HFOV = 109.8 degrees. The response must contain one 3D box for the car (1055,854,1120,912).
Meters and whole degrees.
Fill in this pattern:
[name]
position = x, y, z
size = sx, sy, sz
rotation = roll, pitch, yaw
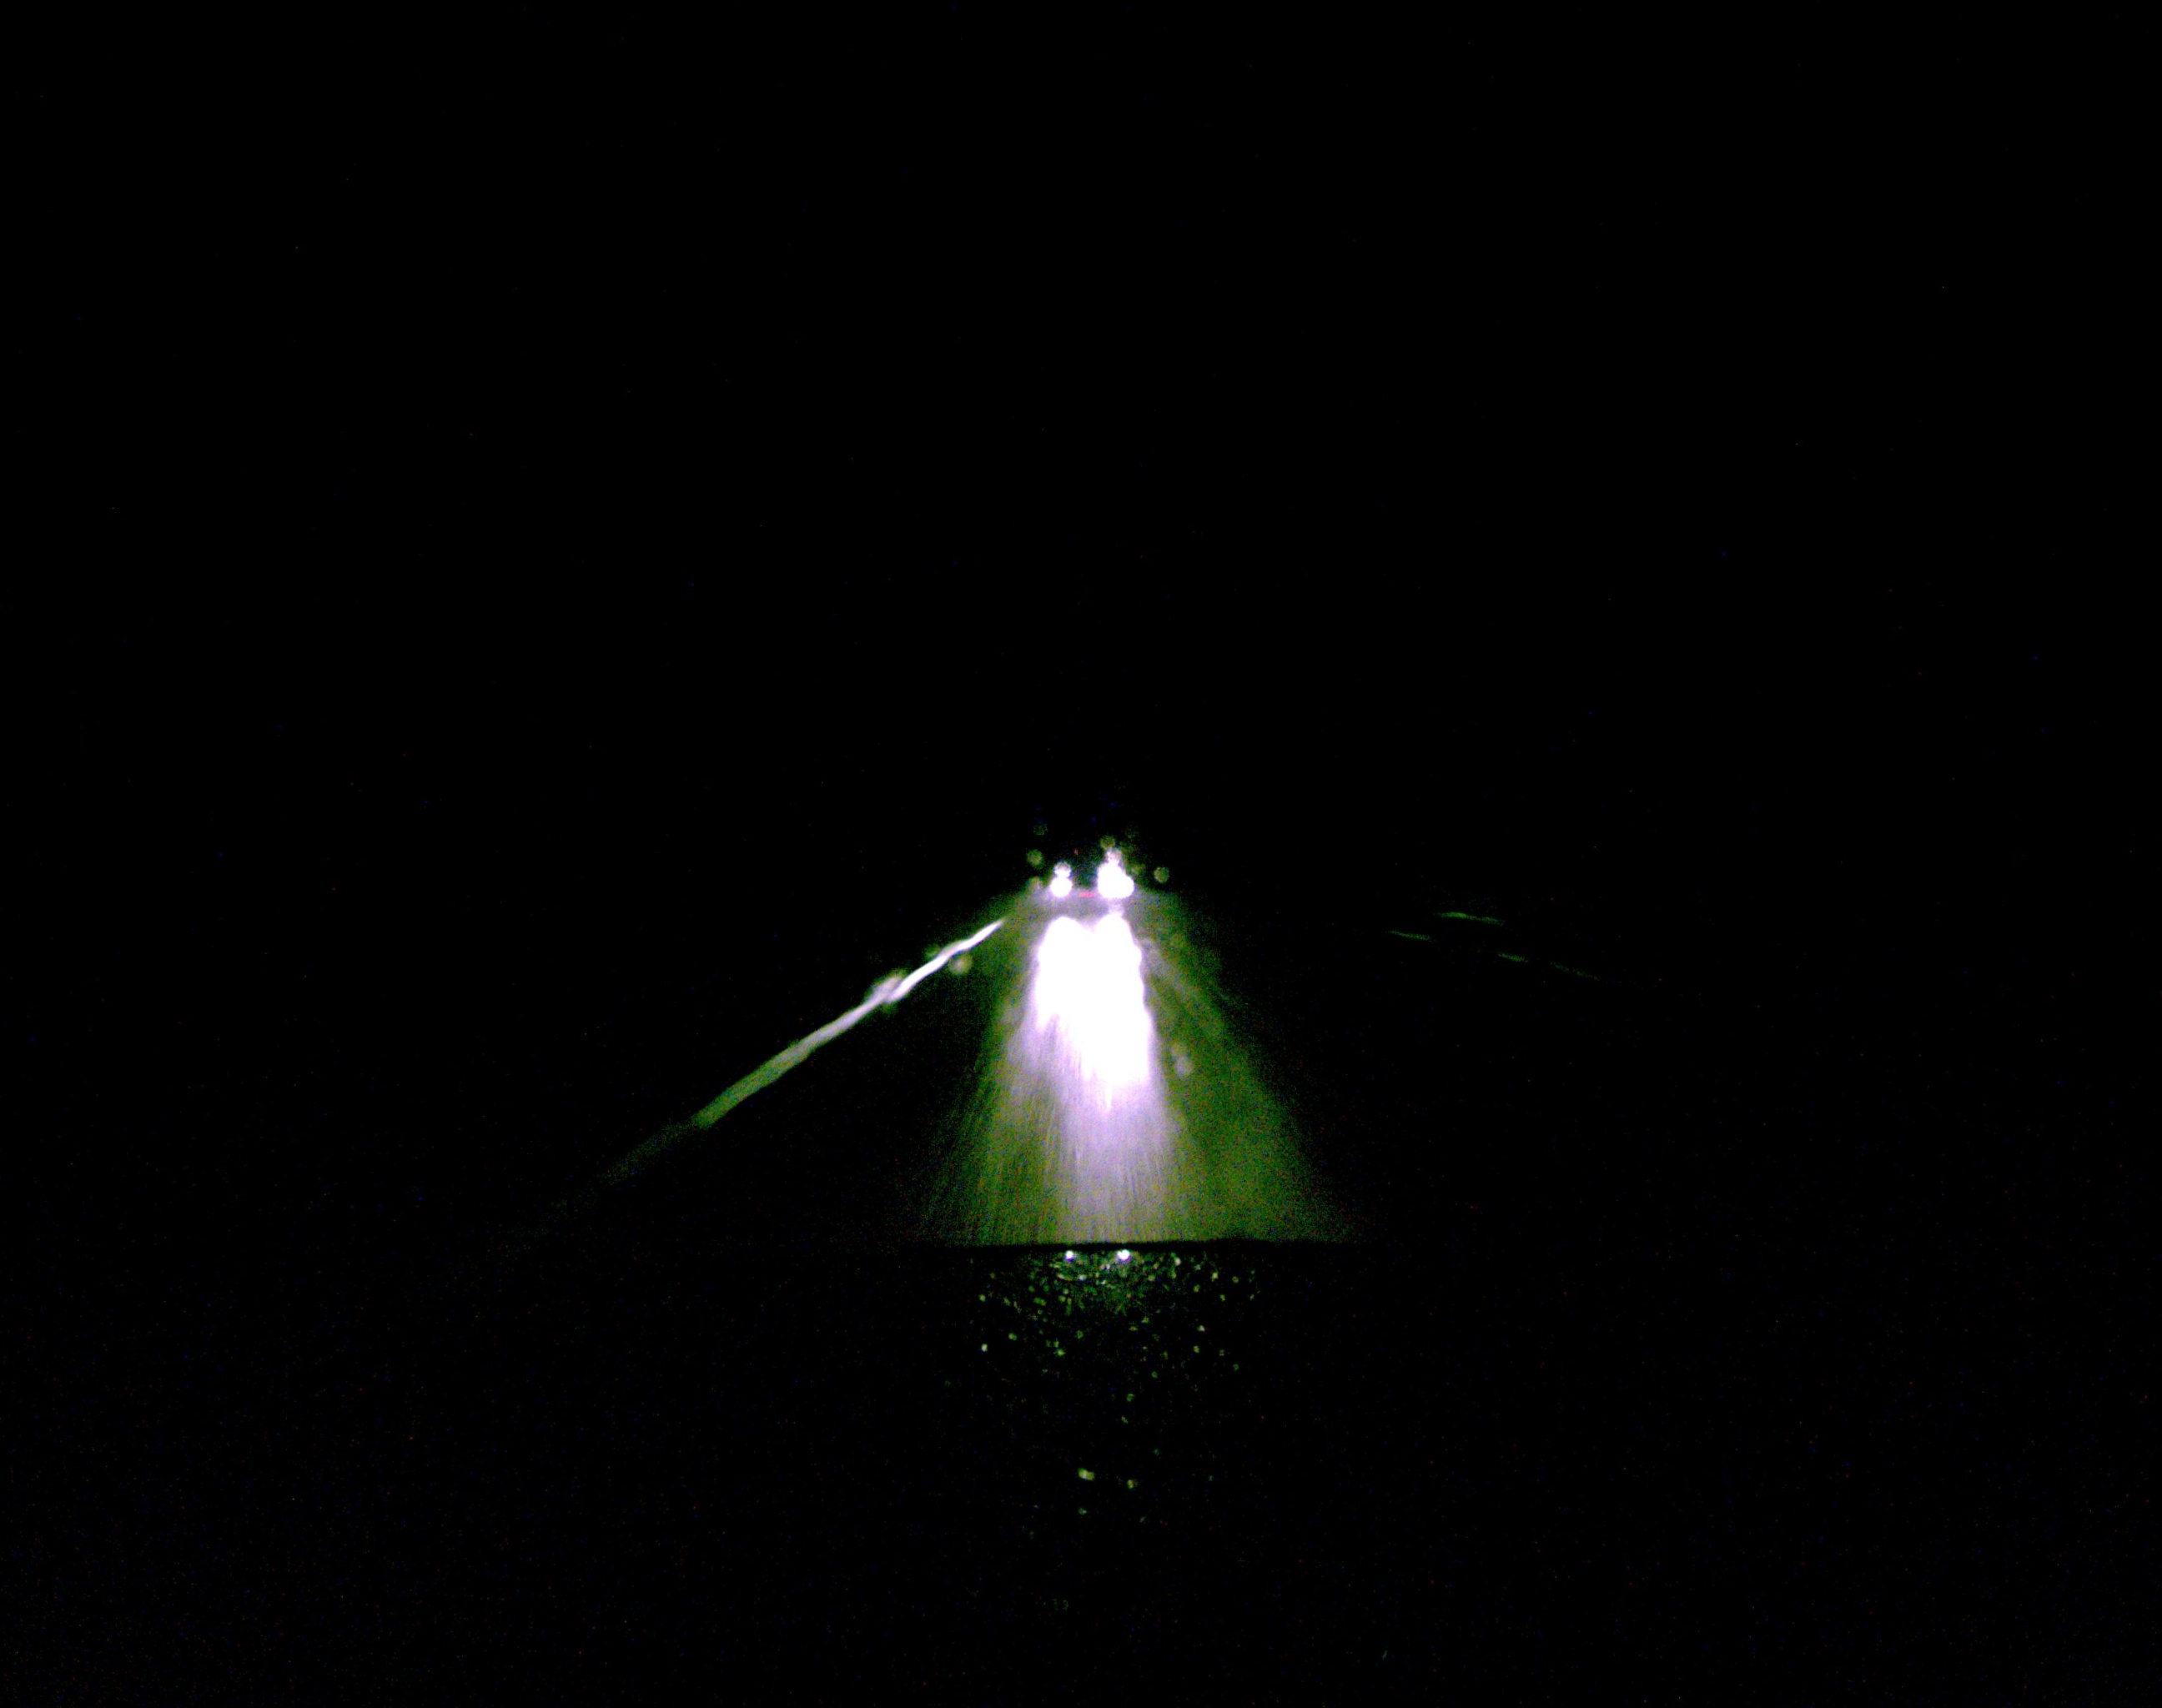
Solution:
[car]
position = 0.293, 0.841, 24.423
size = 1.862, 1.601, 4.420
rotation = -2, 0, 3
